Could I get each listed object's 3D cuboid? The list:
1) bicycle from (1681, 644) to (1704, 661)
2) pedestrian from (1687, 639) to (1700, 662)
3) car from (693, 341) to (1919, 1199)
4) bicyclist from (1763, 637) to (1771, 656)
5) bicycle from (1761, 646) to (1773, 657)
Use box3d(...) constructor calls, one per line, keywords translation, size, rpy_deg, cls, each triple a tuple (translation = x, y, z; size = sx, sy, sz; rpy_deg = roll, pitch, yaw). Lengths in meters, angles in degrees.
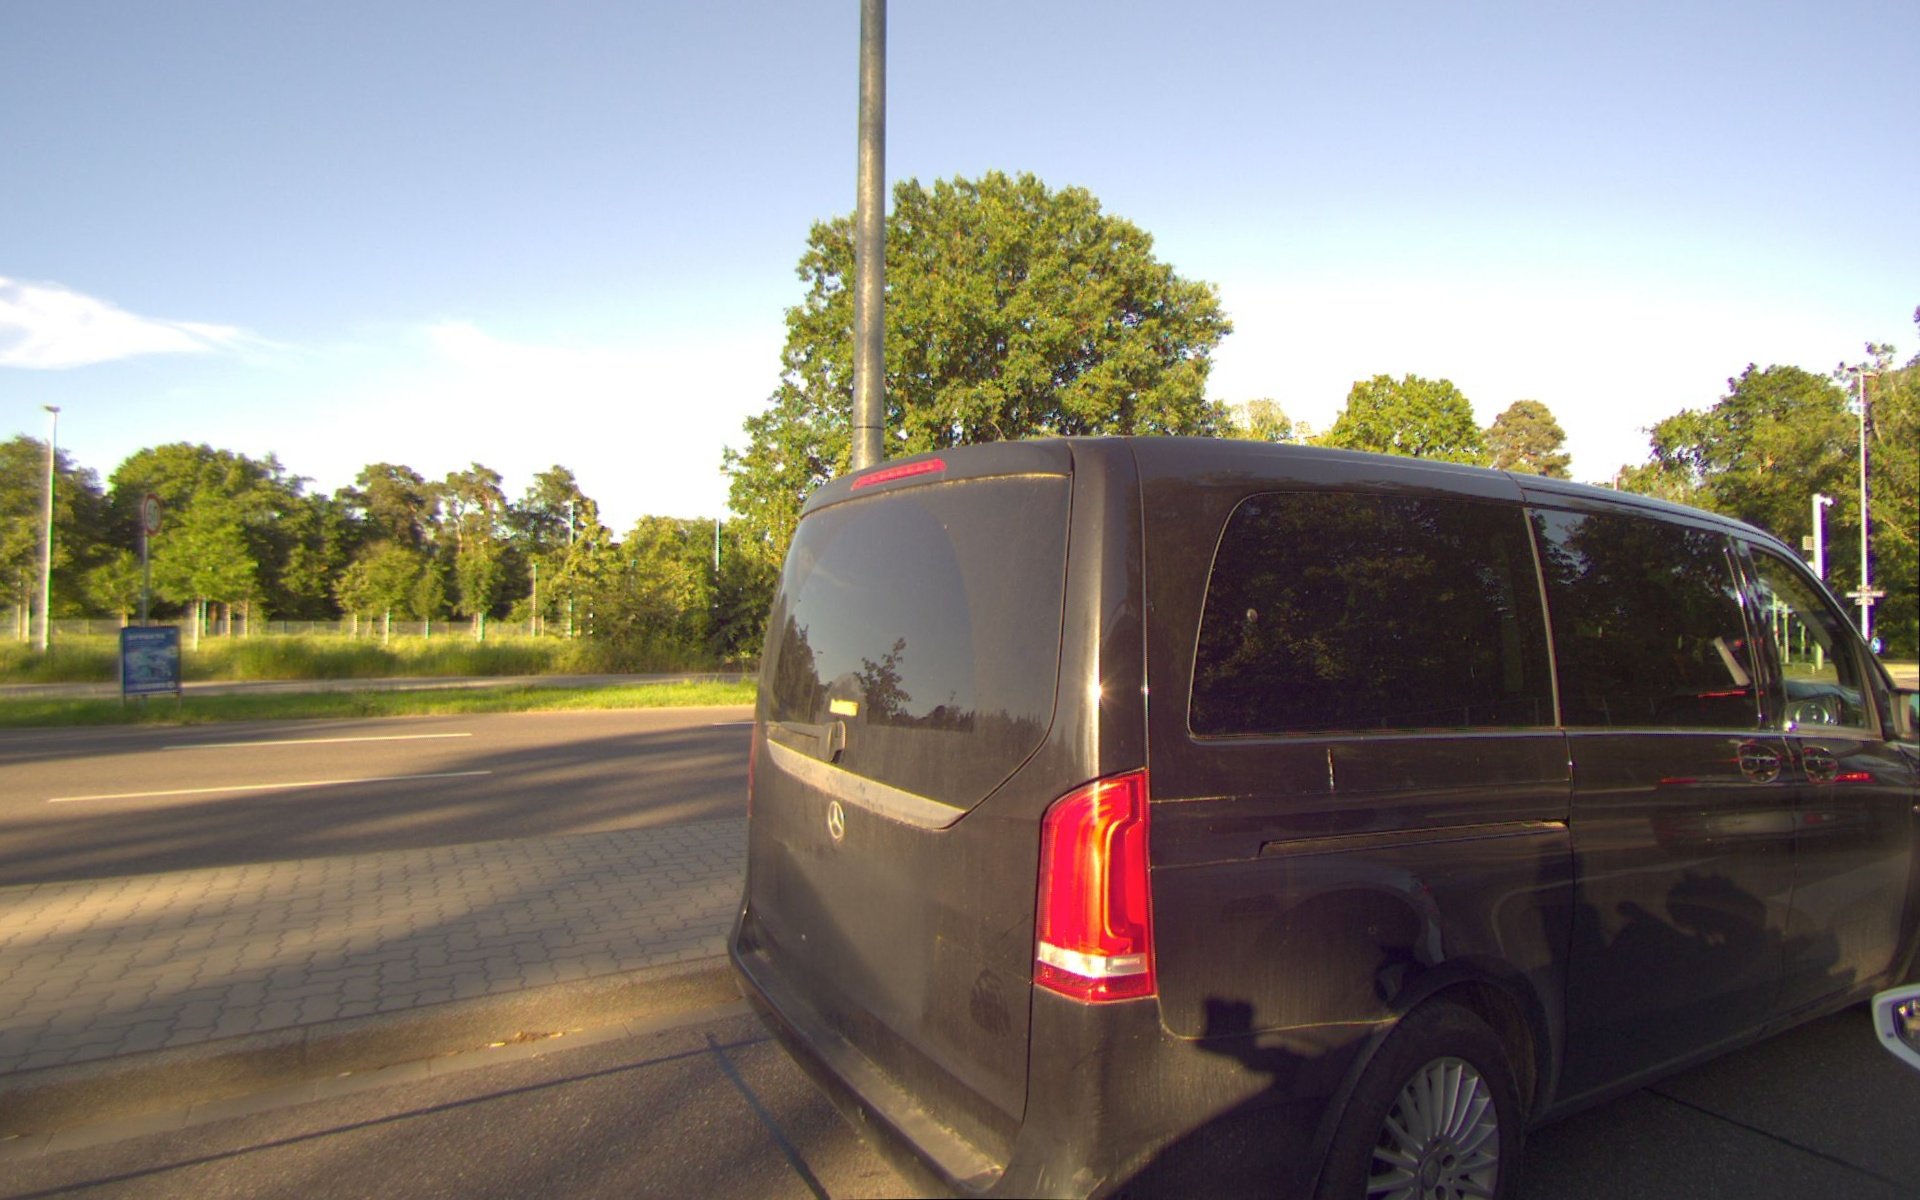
box3d(translation=(36.747, 2.645, 50.386), size=(1.265, 0.810, 0.574), rpy_deg=(2, 0, -35), cls="bicycle")
box3d(translation=(36.756, 2.538, 50.334), size=(0.375, 1.123, 0.442), rpy_deg=(2, 0, -36), cls="pedestrian")
box3d(translation=(1.714, 0.563, 3.522), size=(4.818, 1.881, 1.897), rpy_deg=(0, 1, -32), cls="car")
box3d(translation=(41.884, 2.410, 52.140), size=(0.238, 0.975, 0.271), rpy_deg=(2, 0, -36), cls="bicyclist")
box3d(translation=(41.929, 2.675, 52.172), size=(0.831, 0.589, 0.264), rpy_deg=(2, 0, -36), cls="bicycle")
